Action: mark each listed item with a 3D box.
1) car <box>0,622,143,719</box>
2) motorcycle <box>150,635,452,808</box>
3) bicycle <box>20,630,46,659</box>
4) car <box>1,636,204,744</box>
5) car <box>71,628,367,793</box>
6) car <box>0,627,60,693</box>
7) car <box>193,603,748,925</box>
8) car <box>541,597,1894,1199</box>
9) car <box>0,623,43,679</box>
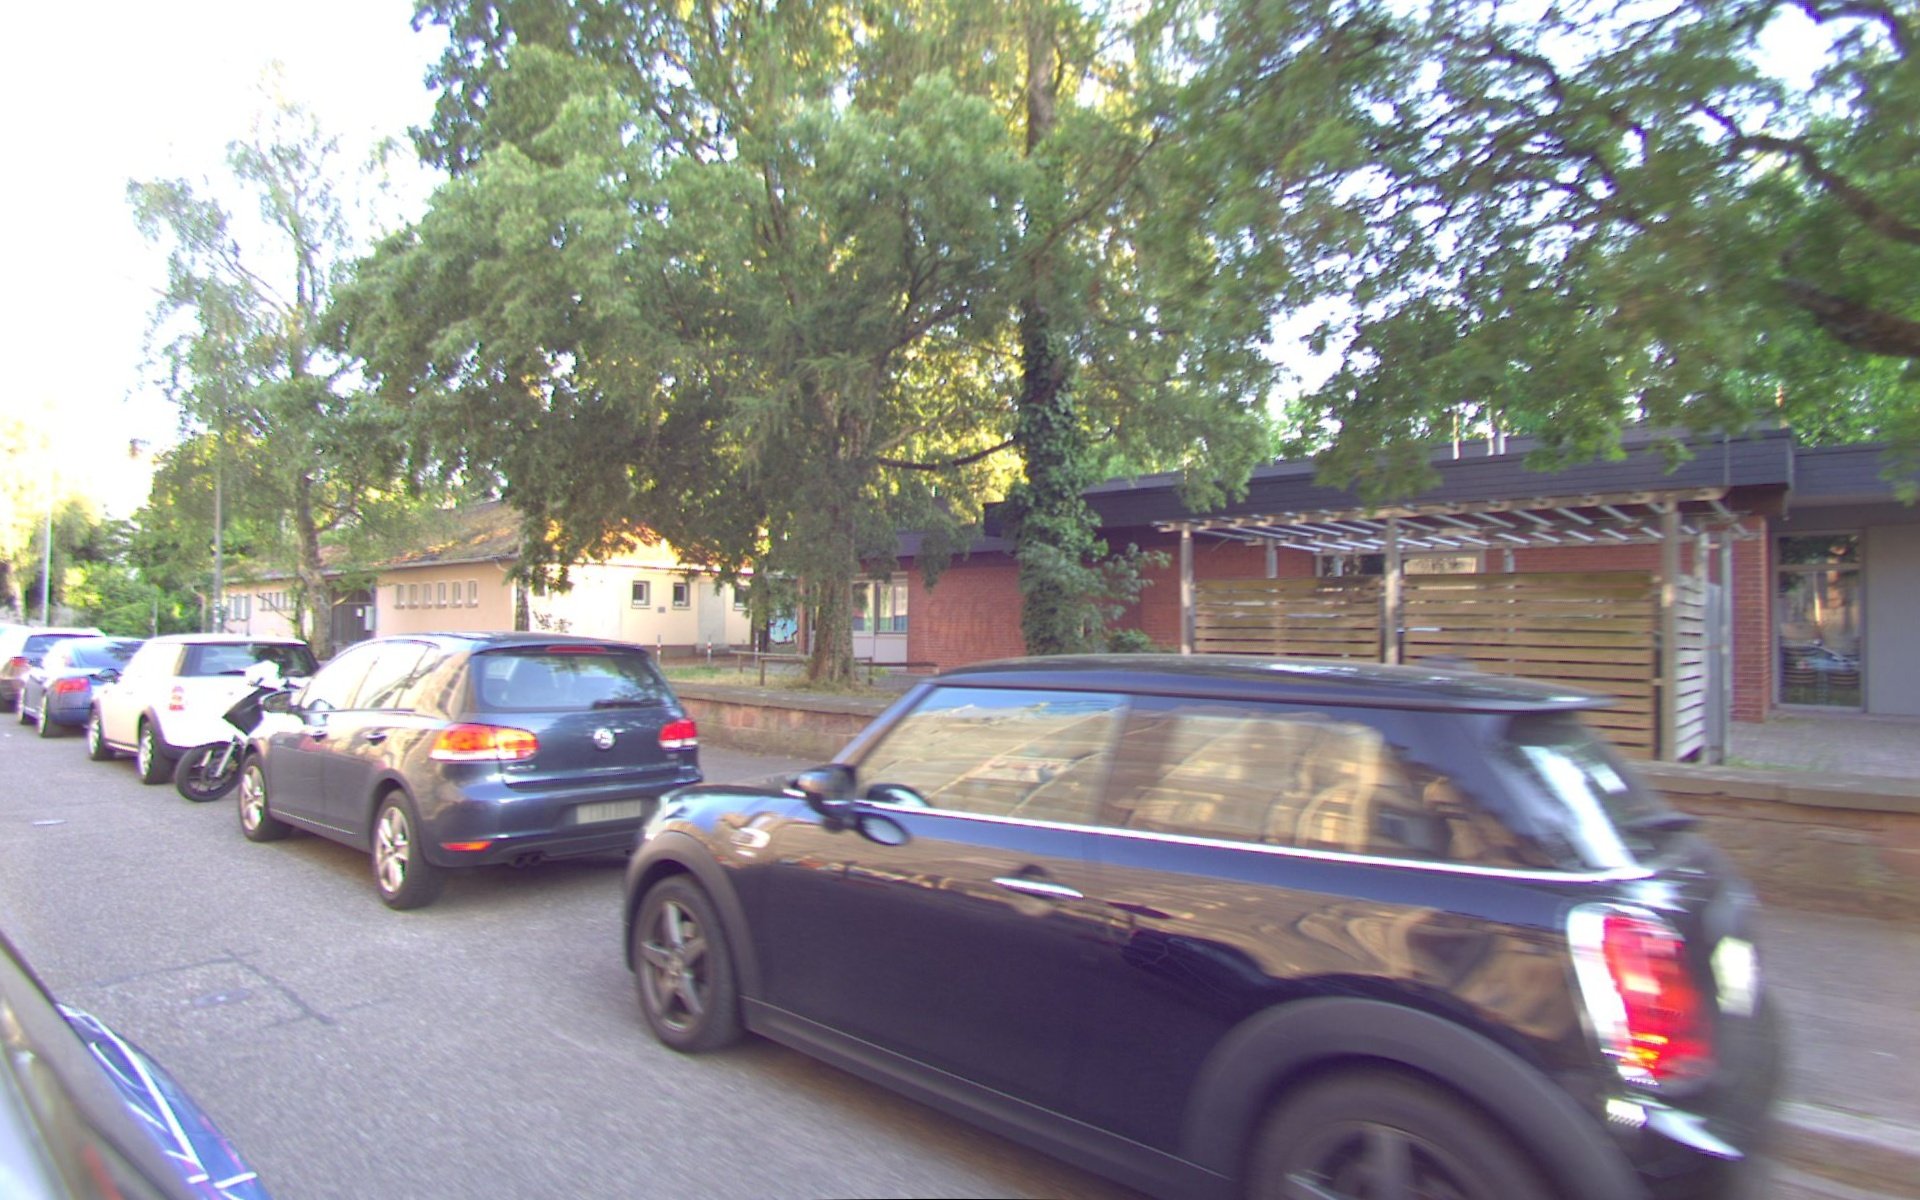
[{"bbox_3d":[-16.582,1.203,18.370,4.755,1.550,1.841,-1,-3,41],"label":"car"},{"bbox_3d":[-5.737,0.986,8.931,2.135,1.313,0.882,0,-1,-35],"label":"motorcycle"},{"bbox_3d":[-37.850,1.804,41.321,1.953,1.126,0.538,-2,-2,40],"label":"bicycle"},{"bbox_3d":[-12.594,1.224,14.780,4.153,1.323,1.641,-1,-4,42],"label":"car"},{"bbox_3d":[-7.940,1.058,10.736,3.800,1.442,1.585,-1,-5,40],"label":"car"},{"bbox_3d":[-22.801,1.361,23.780,4.745,1.457,1.764,-1,-5,41],"label":"car"},{"bbox_3d":[-3.499,0.846,6.833,4.357,1.507,1.698,-1,-4,40],"label":"car"},{"bbox_3d":[0.351,0.816,3.352,3.991,1.489,1.619,-1,-4,42],"label":"car"},{"bbox_3d":[-26.952,1.375,27.794,3.994,1.464,1.974,-1,-2,38],"label":"car"}]
